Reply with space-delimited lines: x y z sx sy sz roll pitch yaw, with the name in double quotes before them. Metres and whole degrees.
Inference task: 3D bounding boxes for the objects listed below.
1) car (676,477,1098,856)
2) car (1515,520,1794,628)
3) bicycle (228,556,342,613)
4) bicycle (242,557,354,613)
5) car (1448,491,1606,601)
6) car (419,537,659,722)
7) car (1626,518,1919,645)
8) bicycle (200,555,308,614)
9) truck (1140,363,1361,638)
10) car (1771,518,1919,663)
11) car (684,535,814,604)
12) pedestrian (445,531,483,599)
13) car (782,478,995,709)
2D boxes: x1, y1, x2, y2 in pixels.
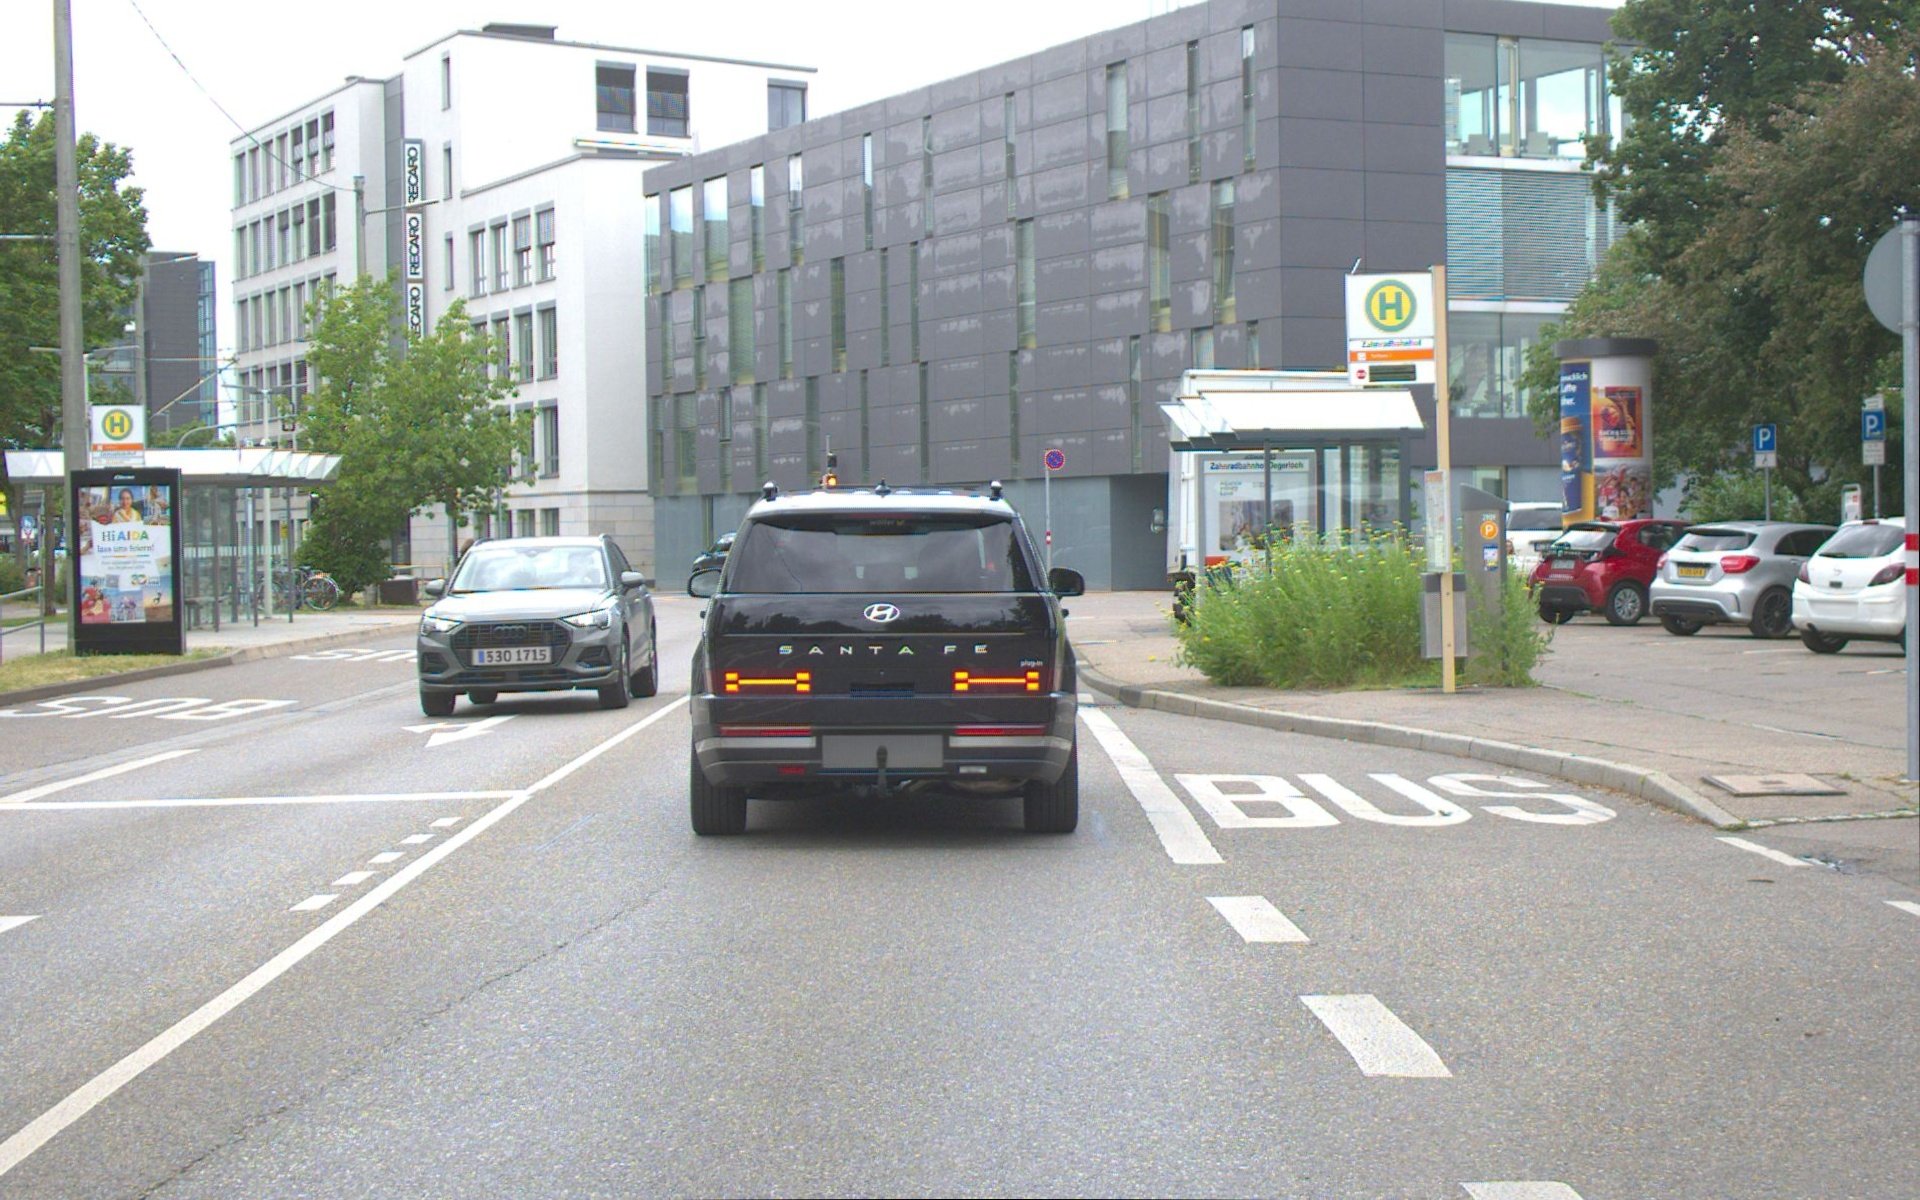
"car" -0.426 0.265 17.809 1.915 1.719 4.171 1 1 -3
"car" 9.578 -0.350 47.382 3.491 1.450 1.681 0 0 -28
"bicycle" -13.264 -0.301 67.576 2.099 1.102 0.631 0 1 2
"bicycle" -13.149 -0.303 68.297 2.099 1.102 0.631 0 1 2
"car" 10.133 -0.951 61.786 1.993 1.831 4.518 -3 0 0
"car" -3.853 0.224 32.032 1.739 1.554 4.184 -2 1 -1
"car" 10.224 -0.208 42.098 3.791 1.468 1.798 1 0 -30
"bicycle" -13.416 -0.294 65.346 1.928 1.102 0.587 0 1 2
"truck" 3.971 -1.374 48.491 2.573 3.513 7.810 -1 1 1
"car" 10.513 -0.166 36.120 3.638 1.430 1.592 -3 0 -27
"car" -5.433 -0.765 88.090 1.847 1.671 4.376 -3 1 -24
"pedestrian" -13.314 -0.940 92.321 0.938 1.794 0.591 -1 1 -11
"car" -0.683 -0.116 32.918 1.855 2.026 4.438 -1 1 -1
